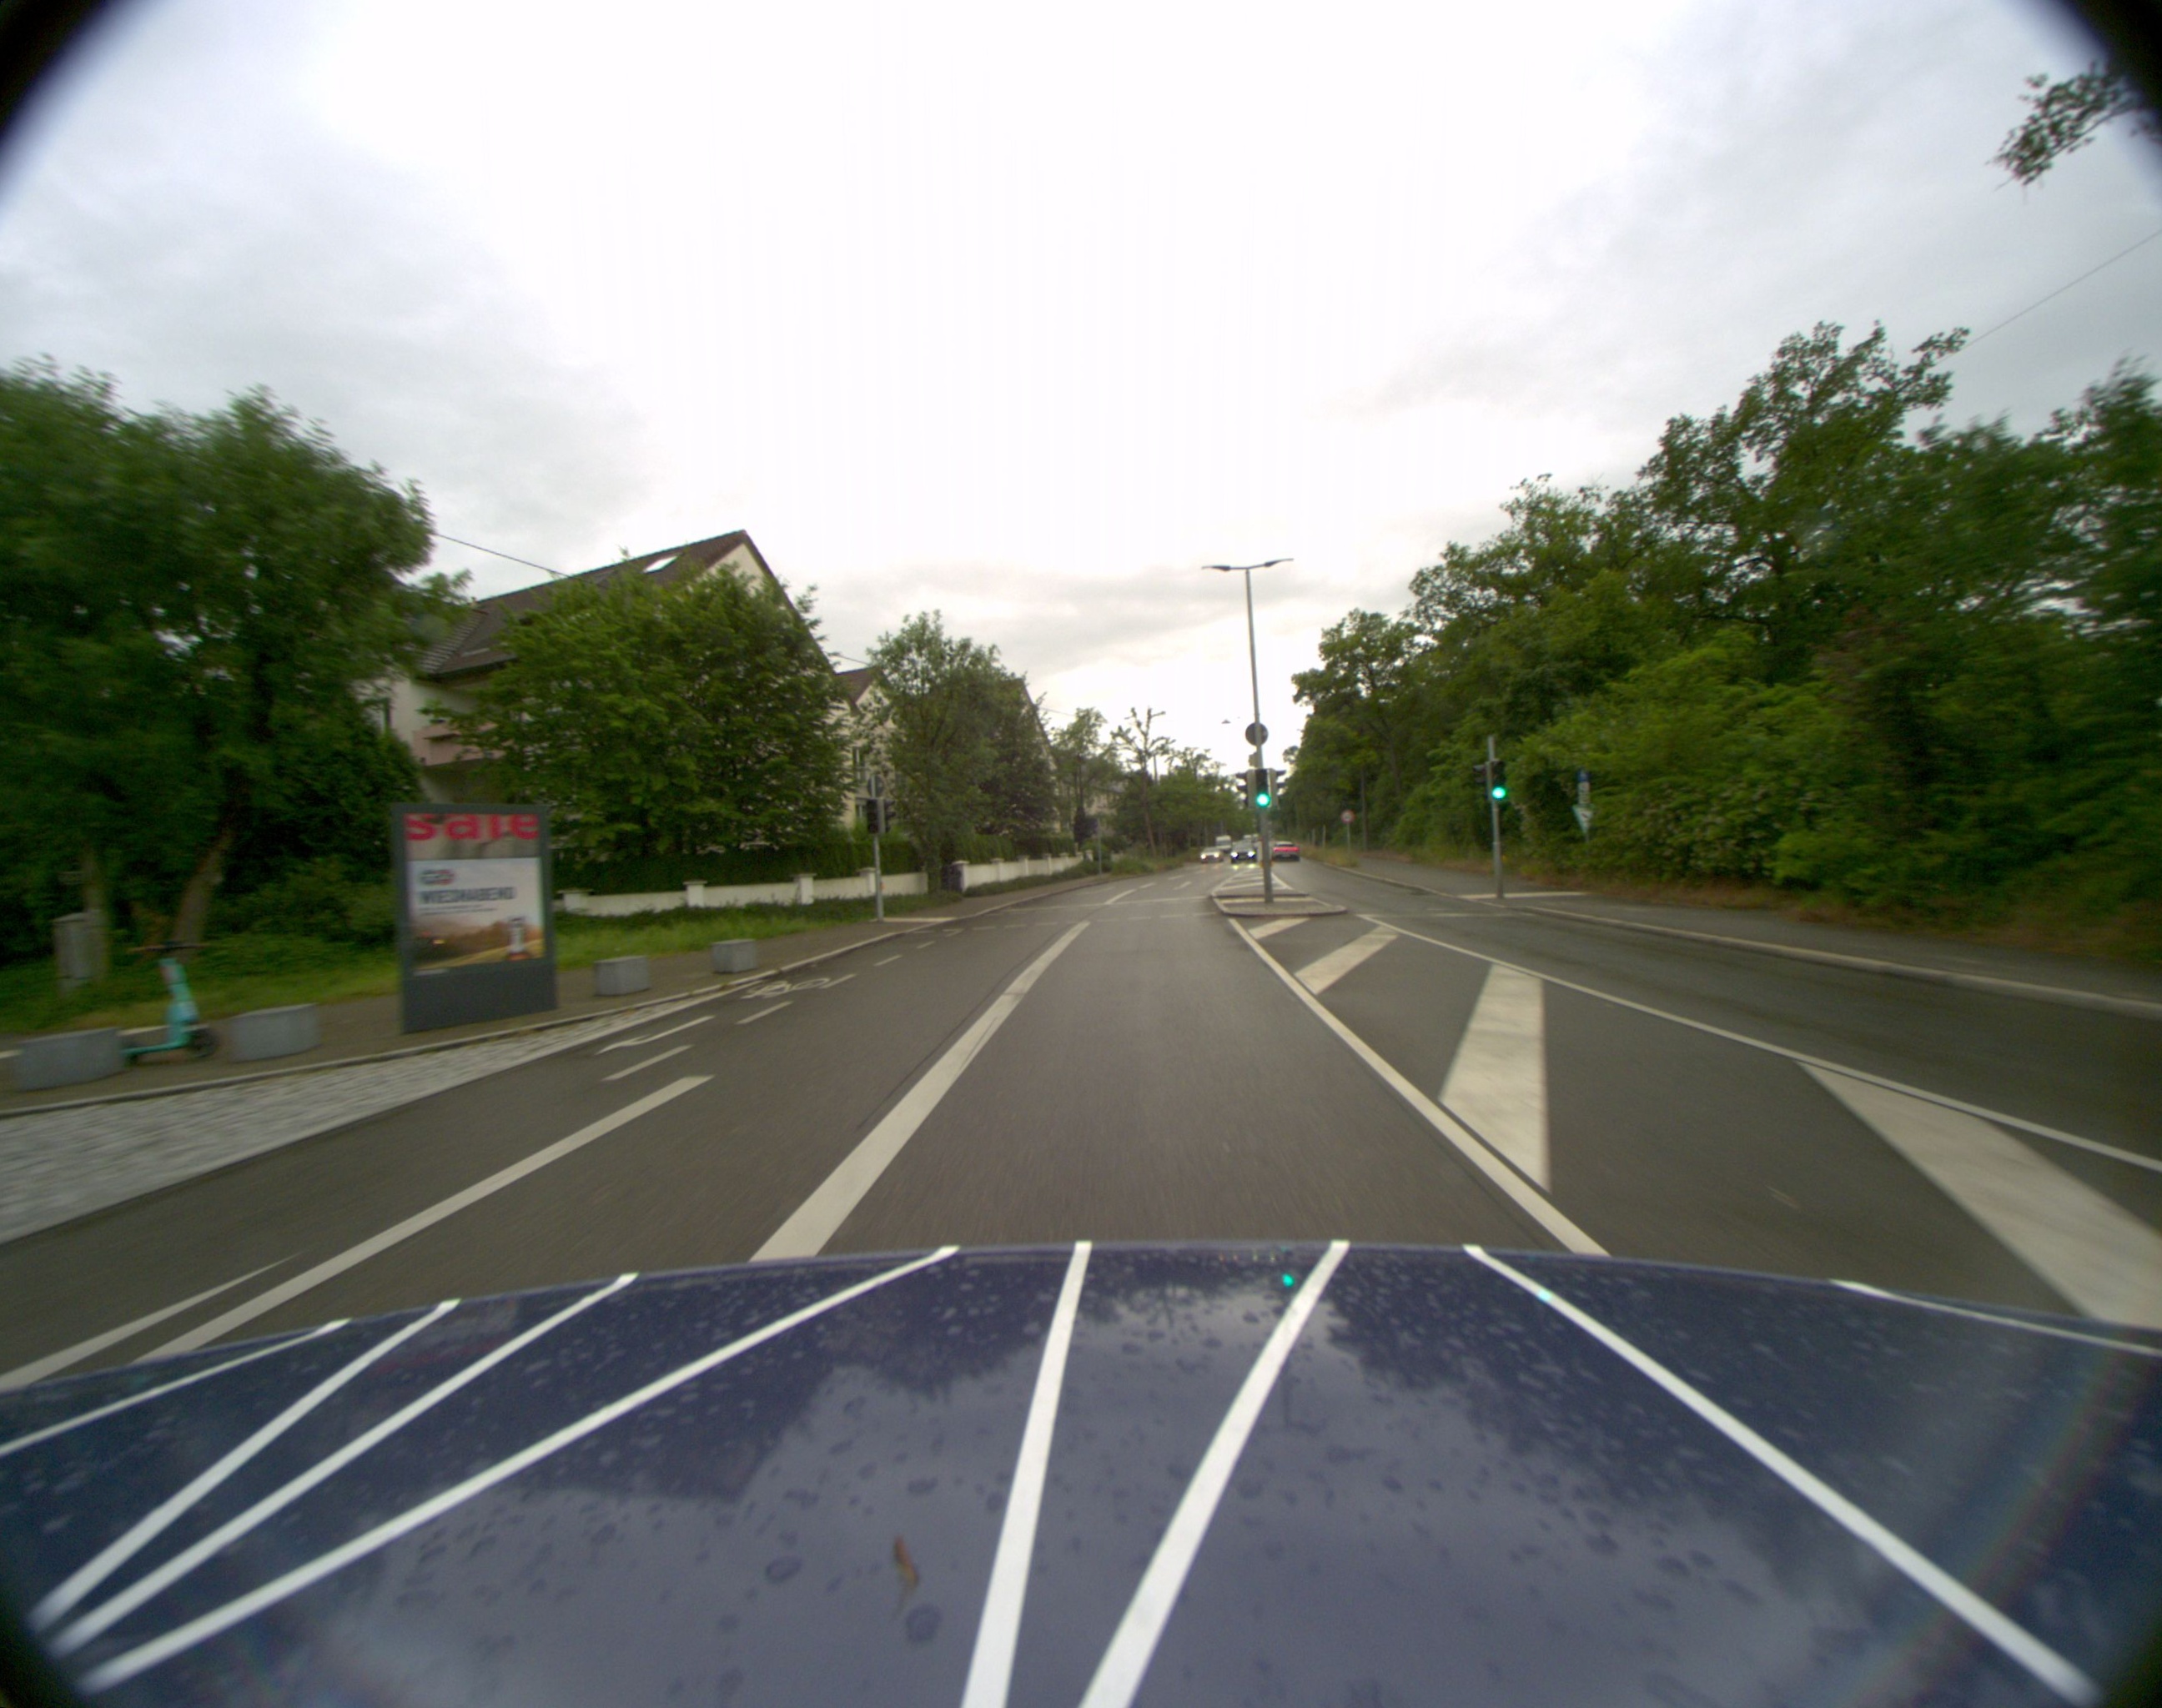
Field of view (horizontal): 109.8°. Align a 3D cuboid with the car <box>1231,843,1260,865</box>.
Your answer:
[{"bbox_3d":[11.958,-0.006,55.456,1.943,1.446,4.607,-2,1,12],"label":"car"}]

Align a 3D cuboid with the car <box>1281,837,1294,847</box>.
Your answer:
[{"bbox_3d":[35.634,-2.067,131.064,1.943,1.594,4.608,-2,1,13],"label":"car"}]

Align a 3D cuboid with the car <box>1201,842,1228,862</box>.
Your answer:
[{"bbox_3d":[11.396,-0.207,64.510,1.943,1.594,4.608,-2,1,13],"label":"car"}]

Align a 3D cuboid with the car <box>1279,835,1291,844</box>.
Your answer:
[{"bbox_3d":[36.858,-2.666,137.288,1.943,1.594,4.608,-2,1,13],"label":"car"}]

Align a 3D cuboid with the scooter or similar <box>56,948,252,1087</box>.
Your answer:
[{"bbox_3d":[-9.399,1.647,7.723,1.351,1.200,0.525,-5,1,7],"label":"scooter or similar"}]

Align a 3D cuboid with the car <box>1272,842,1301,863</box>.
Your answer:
[{"bbox_3d":[15.026,-0.149,55.734,1.943,1.368,4.608,-2,1,14],"label":"car"}]

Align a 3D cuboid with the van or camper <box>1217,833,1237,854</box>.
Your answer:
[{"bbox_3d":[18.439,-1.374,96.064,1.996,2.438,4.726,-3,1,16],"label":"van or camper"}]
